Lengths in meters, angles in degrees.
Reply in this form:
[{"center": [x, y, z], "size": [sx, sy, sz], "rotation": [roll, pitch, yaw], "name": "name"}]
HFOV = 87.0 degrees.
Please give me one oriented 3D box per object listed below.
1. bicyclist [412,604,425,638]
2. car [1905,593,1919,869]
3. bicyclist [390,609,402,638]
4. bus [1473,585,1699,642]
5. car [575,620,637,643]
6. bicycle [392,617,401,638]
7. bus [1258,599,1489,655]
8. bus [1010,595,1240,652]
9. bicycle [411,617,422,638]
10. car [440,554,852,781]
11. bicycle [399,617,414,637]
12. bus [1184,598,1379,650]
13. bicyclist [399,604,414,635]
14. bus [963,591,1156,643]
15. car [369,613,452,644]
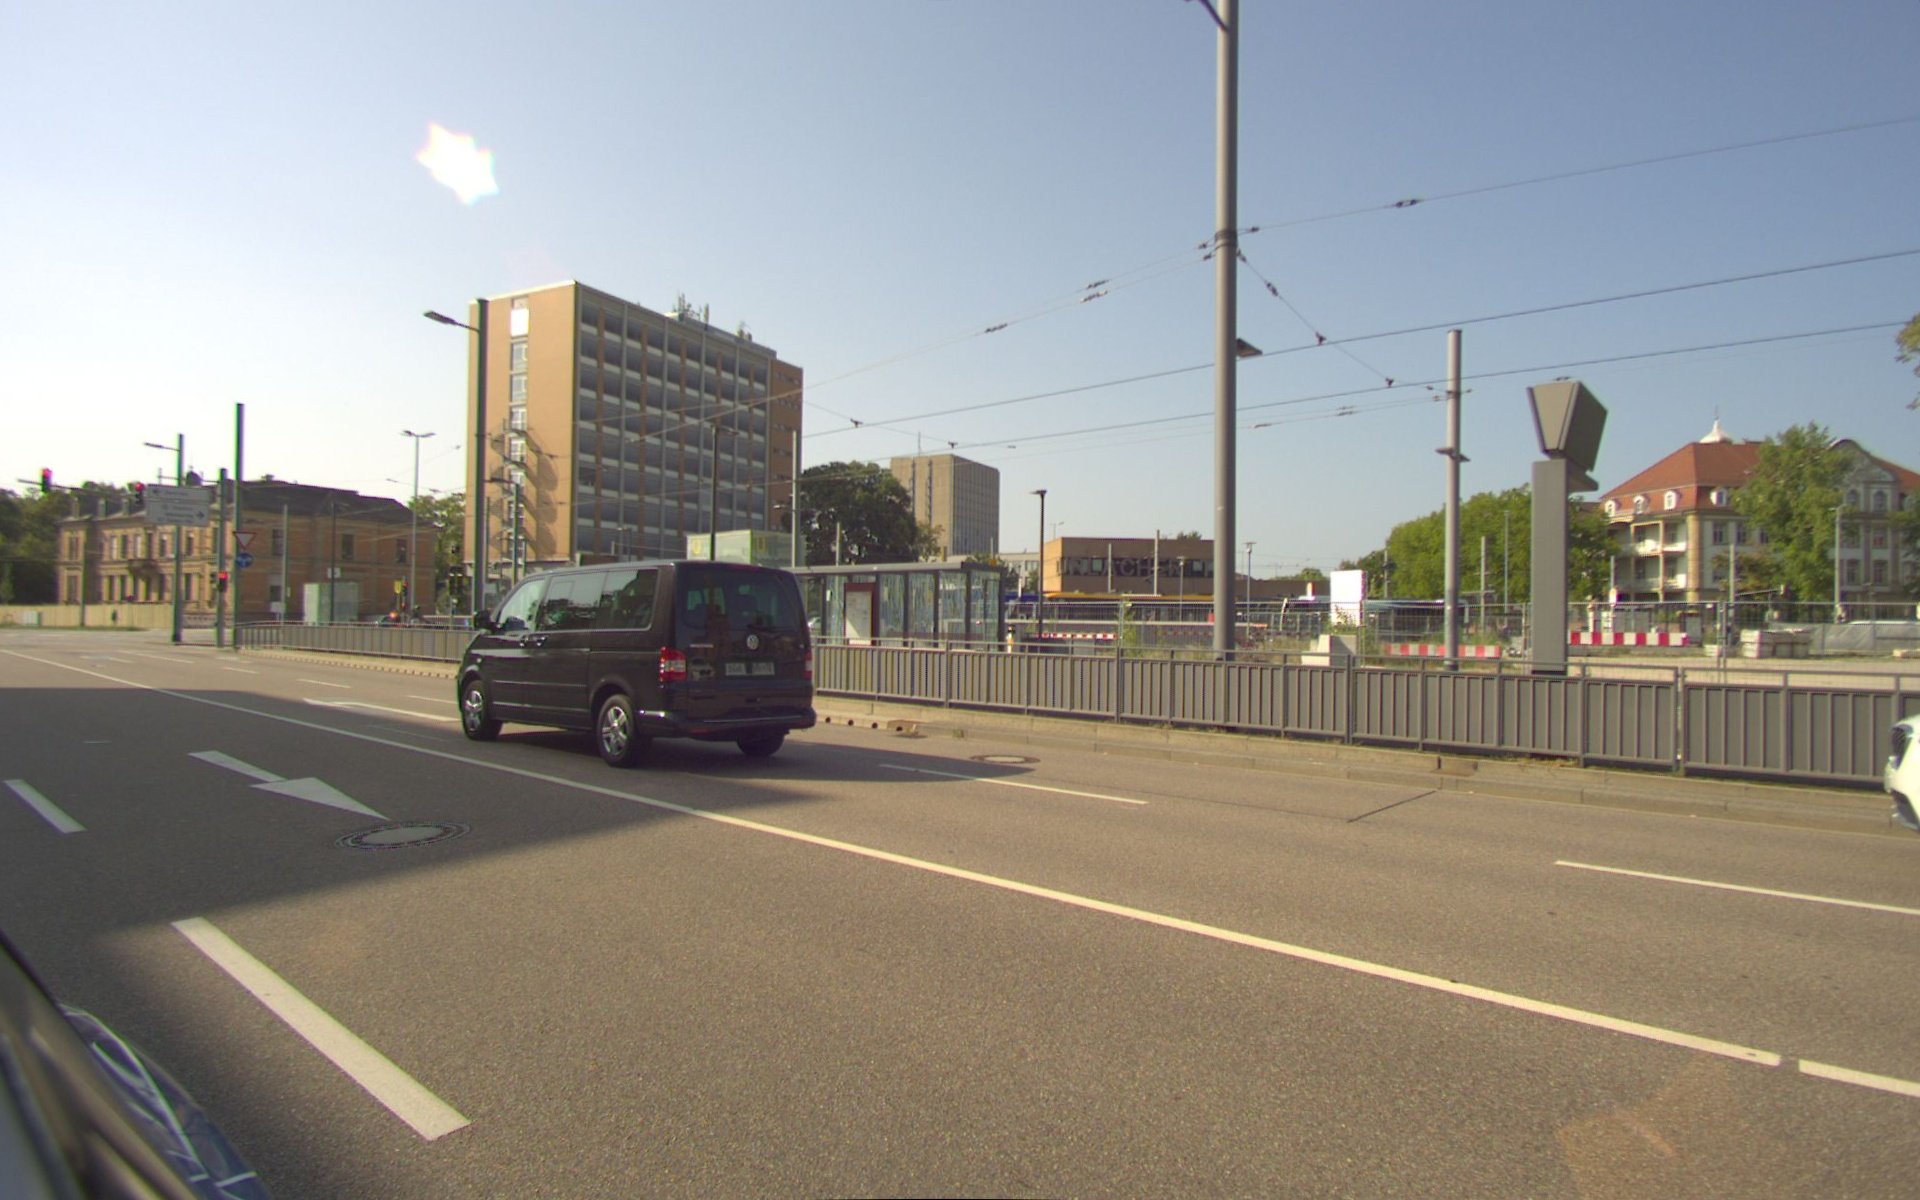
[{"center": [-31.109, 1.210, 58.123], "size": [0.571, 1.989, 0.809], "rotation": [1, -2, -35], "name": "bicyclist"}, {"center": [7.425, 0.772, 4.575], "size": [4.502, 1.624, 1.695], "rotation": [-1, -3, 41], "name": "car"}, {"center": [-31.974, 1.329, 57.347], "size": [0.503, 1.642, 0.809], "rotation": [1, -2, -35], "name": "bicyclist"}, {"center": [40.480, 0.896, 65.626], "size": [13.111, 3.445, 3.229], "rotation": [1, -2, -5], "name": "bus"}, {"center": [-25.015, 2.214, 71.532], "size": [3.930, 1.608, 2.006], "rotation": [2, -2, -26], "name": "car"}, {"center": [-31.990, 1.566, 57.410], "size": [0.306, 1.174, 1.503], "rotation": [1, -2, -34], "name": "bicycle"}, {"center": [25.115, 1.661, 61.643], "size": [13.106, 3.203, 3.230], "rotation": [1, -2, -7], "name": "bus"}, {"center": [9.735, 1.428, 60.318], "size": [13.108, 3.203, 3.230], "rotation": [1, -2, -7], "name": "bus"}, {"center": [-31.186, 1.594, 58.097], "size": [0.371, 1.174, 1.864], "rotation": [1, -2, -34], "name": "bicycle"}, {"center": [-3.525, 0.632, 10.863], "size": [4.713, 1.919, 1.973], "rotation": [-1, -3, 41], "name": "car"}, {"center": [-30.258, 1.470, 55.304], "size": [0.396, 1.118, 1.750], "rotation": [2, -2, -39], "name": "bicycle"}, {"center": [22.946, 1.751, 72.547], "size": [13.111, 3.445, 3.229], "rotation": [1, -2, -5], "name": "bus"}, {"center": [-30.216, 1.049, 55.270], "size": [0.579, 1.669, 0.792], "rotation": [2, -2, -38], "name": "bicyclist"}, {"center": [6.894, 1.237, 71.046], "size": [13.111, 3.445, 3.229], "rotation": [1, -2, -5], "name": "bus"}, {"center": [-34.921, 1.836, 64.436], "size": [4.496, 1.866, 2.006], "rotation": [2, -2, -27], "name": "car"}]
